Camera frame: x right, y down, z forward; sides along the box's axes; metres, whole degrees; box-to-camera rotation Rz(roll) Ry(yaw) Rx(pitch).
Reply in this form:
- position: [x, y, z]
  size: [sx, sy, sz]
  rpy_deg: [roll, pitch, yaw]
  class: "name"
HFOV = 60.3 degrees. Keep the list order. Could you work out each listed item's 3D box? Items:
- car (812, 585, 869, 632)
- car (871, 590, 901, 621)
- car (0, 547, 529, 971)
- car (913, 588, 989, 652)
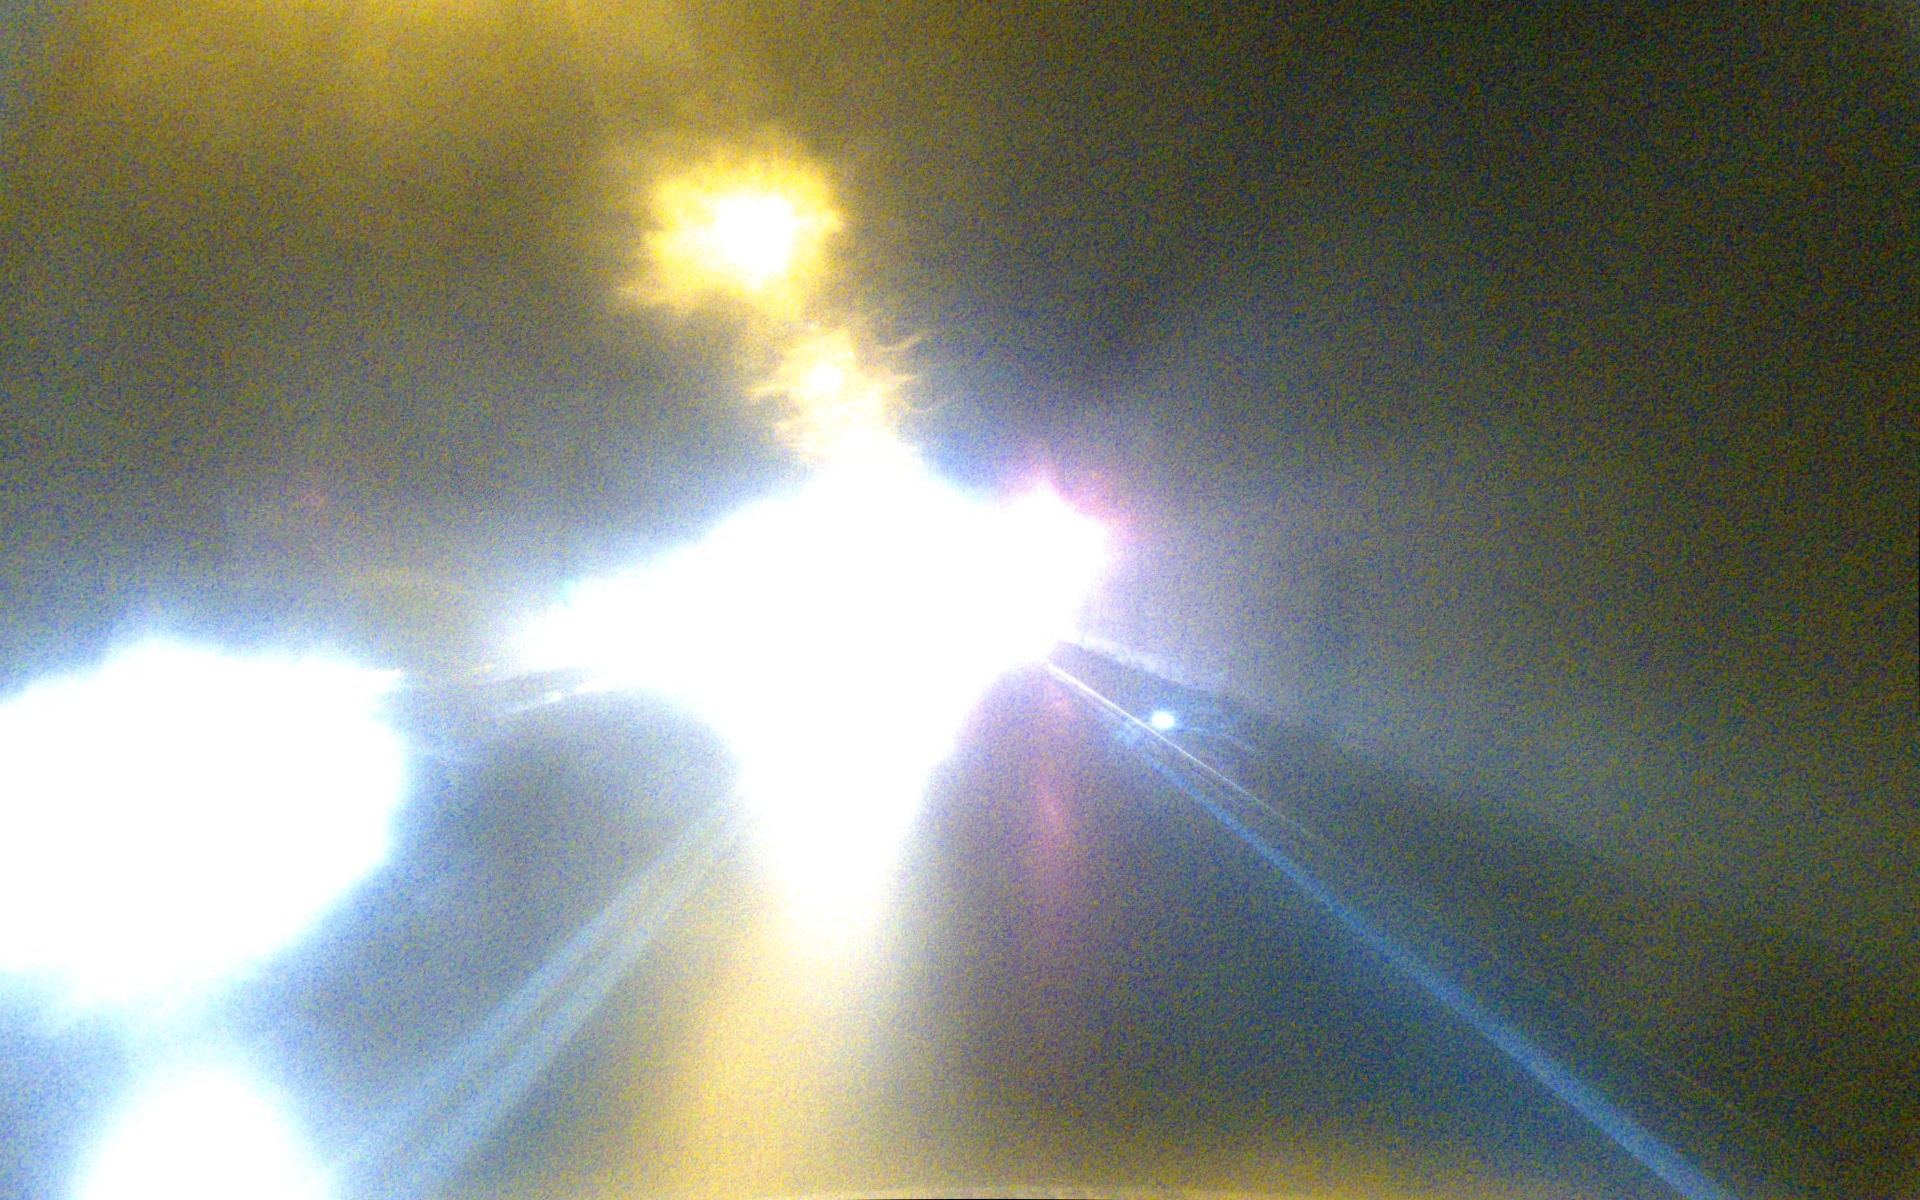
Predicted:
- position: [-3.947, 0.271, 55.119]
  size: [1.676, 1.488, 3.574]
  rpy_deg: [-1, 0, -1]
  class: "car"
- position: [-4.440, 0.323, 99.725]
  size: [1.635, 1.675, 3.906]
  rpy_deg: [-3, 1, -1]
  class: "car"
- position: [-3.330, 0.567, 7.872]
  size: [1.656, 1.531, 3.743]
  rpy_deg: [0, 0, -2]
  class: "car"
- position: [-0.280, 0.528, 46.446]
  size: [2.047, 1.691, 3.999]
  rpy_deg: [0, 0, -1]
  class: "car"
